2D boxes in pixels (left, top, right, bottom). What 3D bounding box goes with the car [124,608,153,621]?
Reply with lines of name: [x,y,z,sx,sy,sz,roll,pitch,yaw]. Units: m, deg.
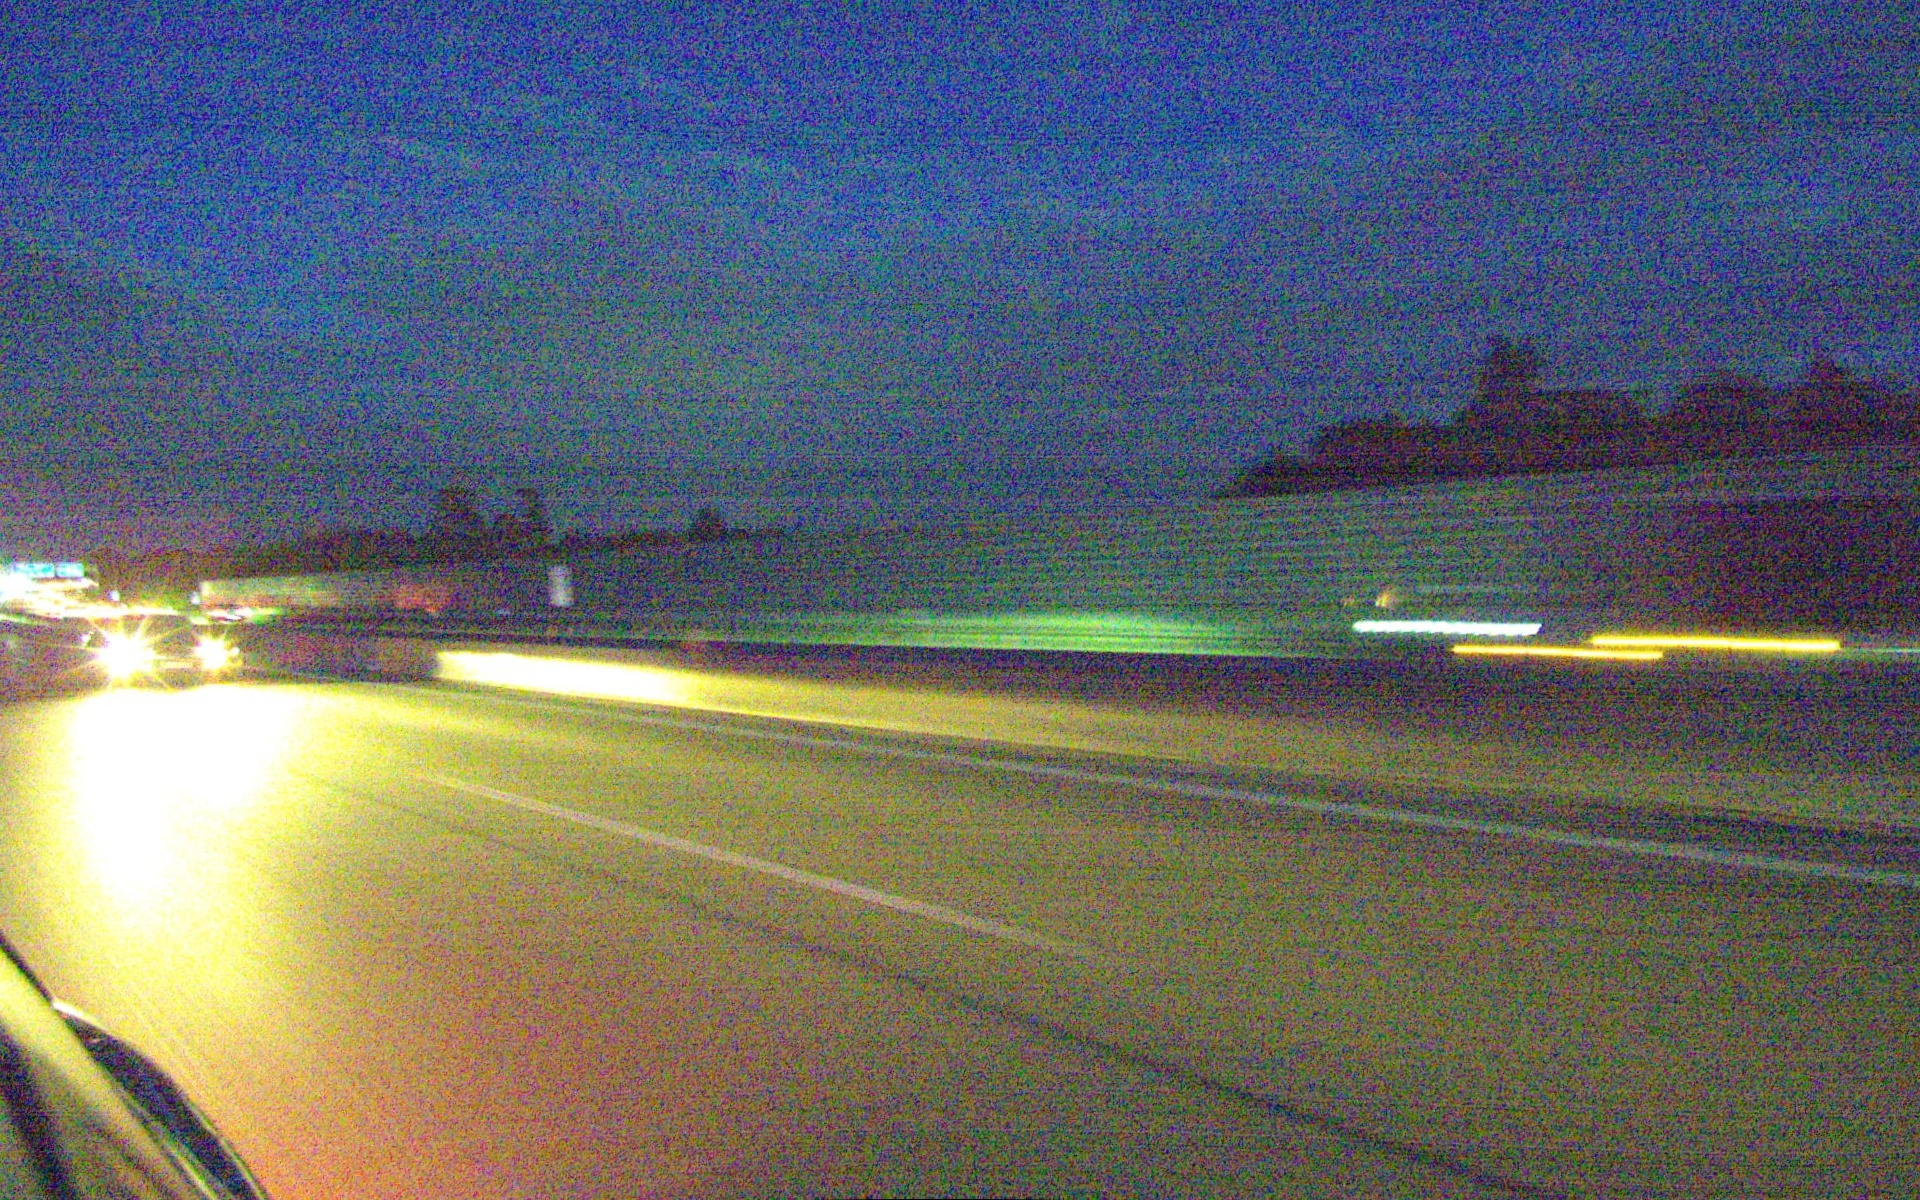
car: [-101.342,1.814,124.862,5.109,1.567,2.095,0,0,43]

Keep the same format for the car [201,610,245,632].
car: [-63.199,1.742,86.739,5.941,1.795,2.031,0,0,43]

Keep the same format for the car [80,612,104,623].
car: [-127.939,2.571,149.158,5.243,1.492,2.160,0,1,44]

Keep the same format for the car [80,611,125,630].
car: [-77.131,1.800,91.012,5.109,1.567,2.531,0,0,43]

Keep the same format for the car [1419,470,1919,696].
car: [12.273,-0.183,16.577,8.215,3.109,2.623,-2,-1,43]

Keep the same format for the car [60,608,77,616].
car: [-177.501,2.402,201.554,5.110,1.567,2.095,0,0,44]

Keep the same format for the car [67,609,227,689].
car: [-18.121,1.078,22.441,5.650,1.530,1.972,-3,-2,43]

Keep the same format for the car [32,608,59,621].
car: [-116.743,1.873,129.207,5.109,1.567,2.095,0,0,43]

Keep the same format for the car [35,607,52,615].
car: [-173.823,2.088,191.898,5.111,1.567,2.094,0,0,45]
